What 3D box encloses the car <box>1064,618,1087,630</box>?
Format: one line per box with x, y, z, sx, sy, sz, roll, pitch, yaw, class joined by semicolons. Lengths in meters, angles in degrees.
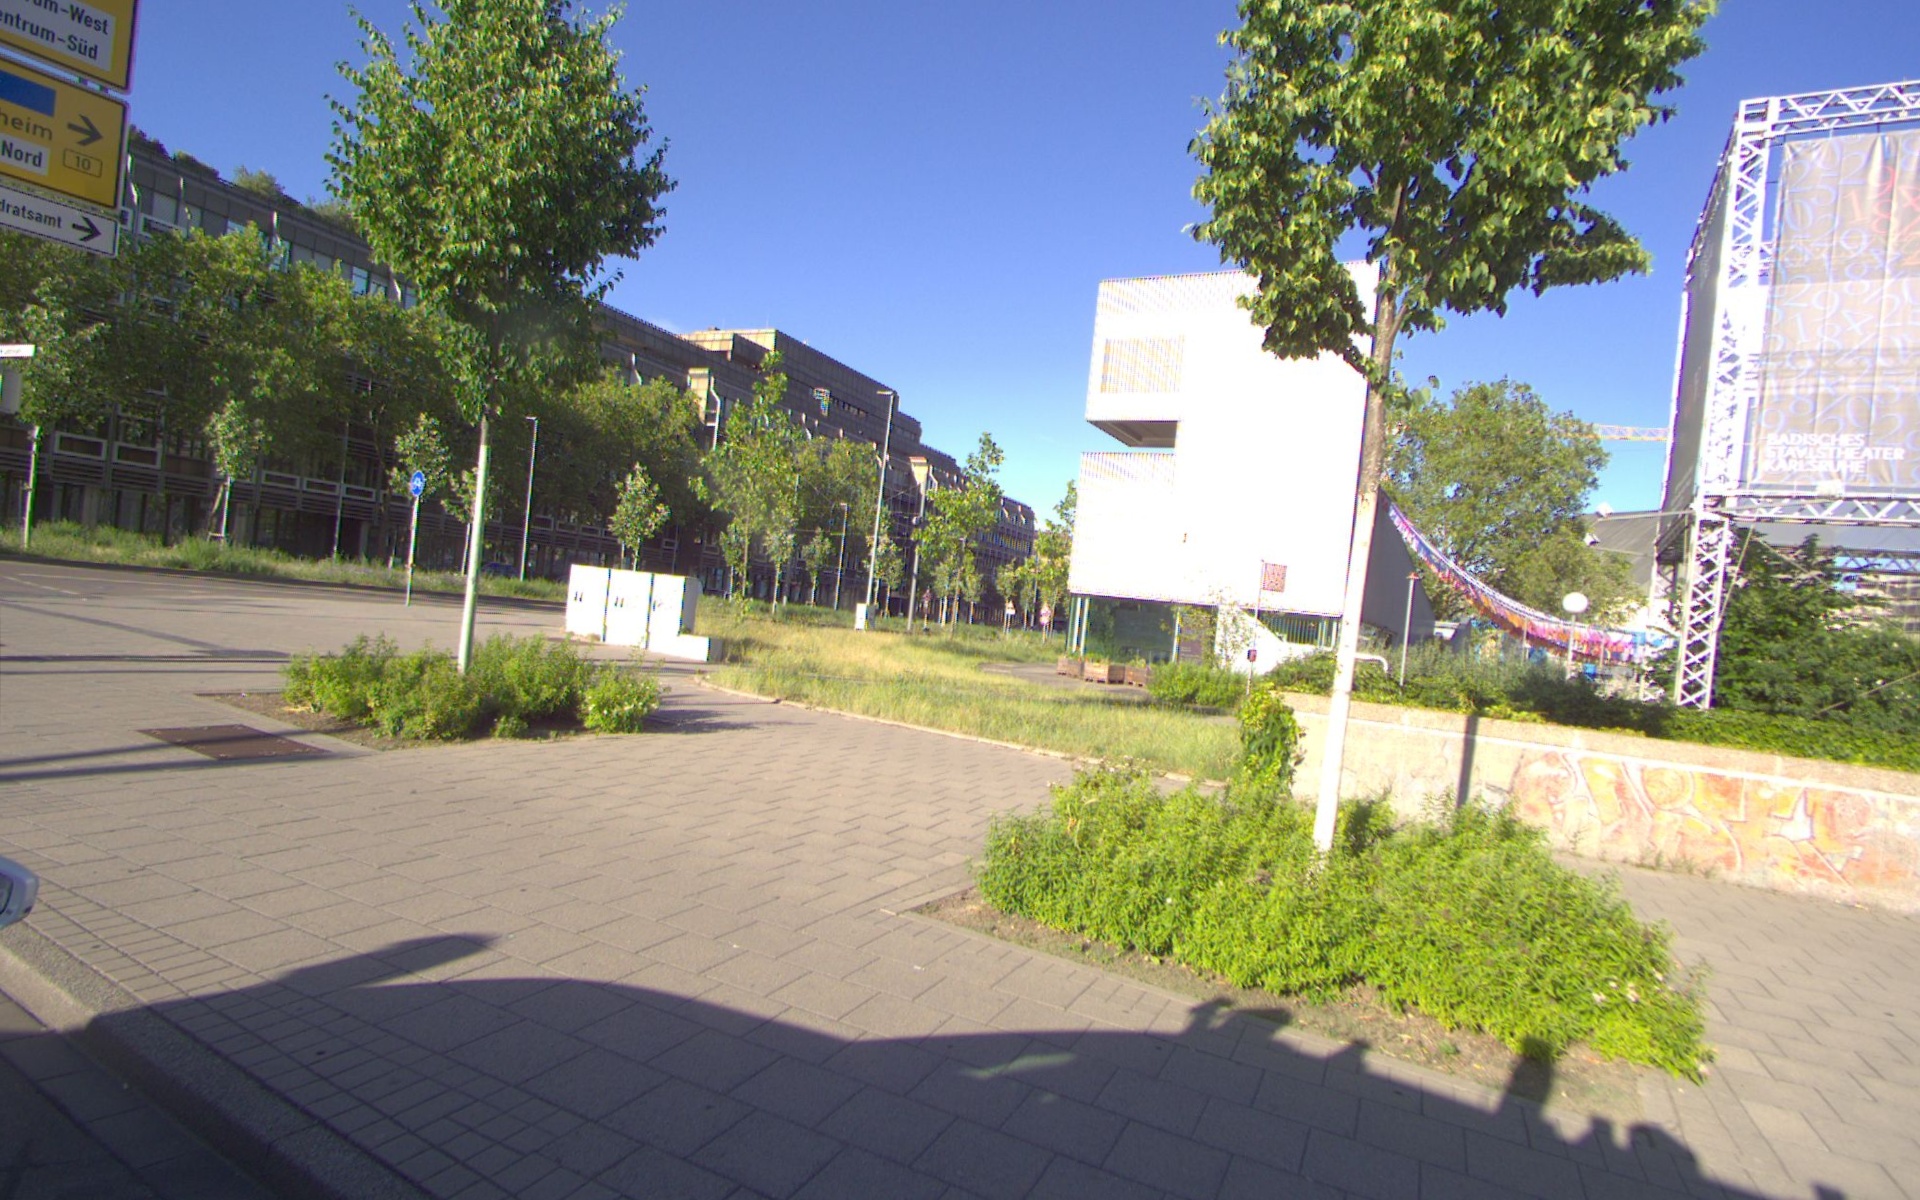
15.779;3.286;137.499;1.688;1.470;3.569;3;-2;31;car

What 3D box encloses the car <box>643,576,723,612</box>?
-19.723;-0.411;71.981;2.226;2.037;5.705;4;-2;25;car

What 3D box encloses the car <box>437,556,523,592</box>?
-31.361;-1.693;65.900;1.964;1.700;4.868;7;-1;23;car
